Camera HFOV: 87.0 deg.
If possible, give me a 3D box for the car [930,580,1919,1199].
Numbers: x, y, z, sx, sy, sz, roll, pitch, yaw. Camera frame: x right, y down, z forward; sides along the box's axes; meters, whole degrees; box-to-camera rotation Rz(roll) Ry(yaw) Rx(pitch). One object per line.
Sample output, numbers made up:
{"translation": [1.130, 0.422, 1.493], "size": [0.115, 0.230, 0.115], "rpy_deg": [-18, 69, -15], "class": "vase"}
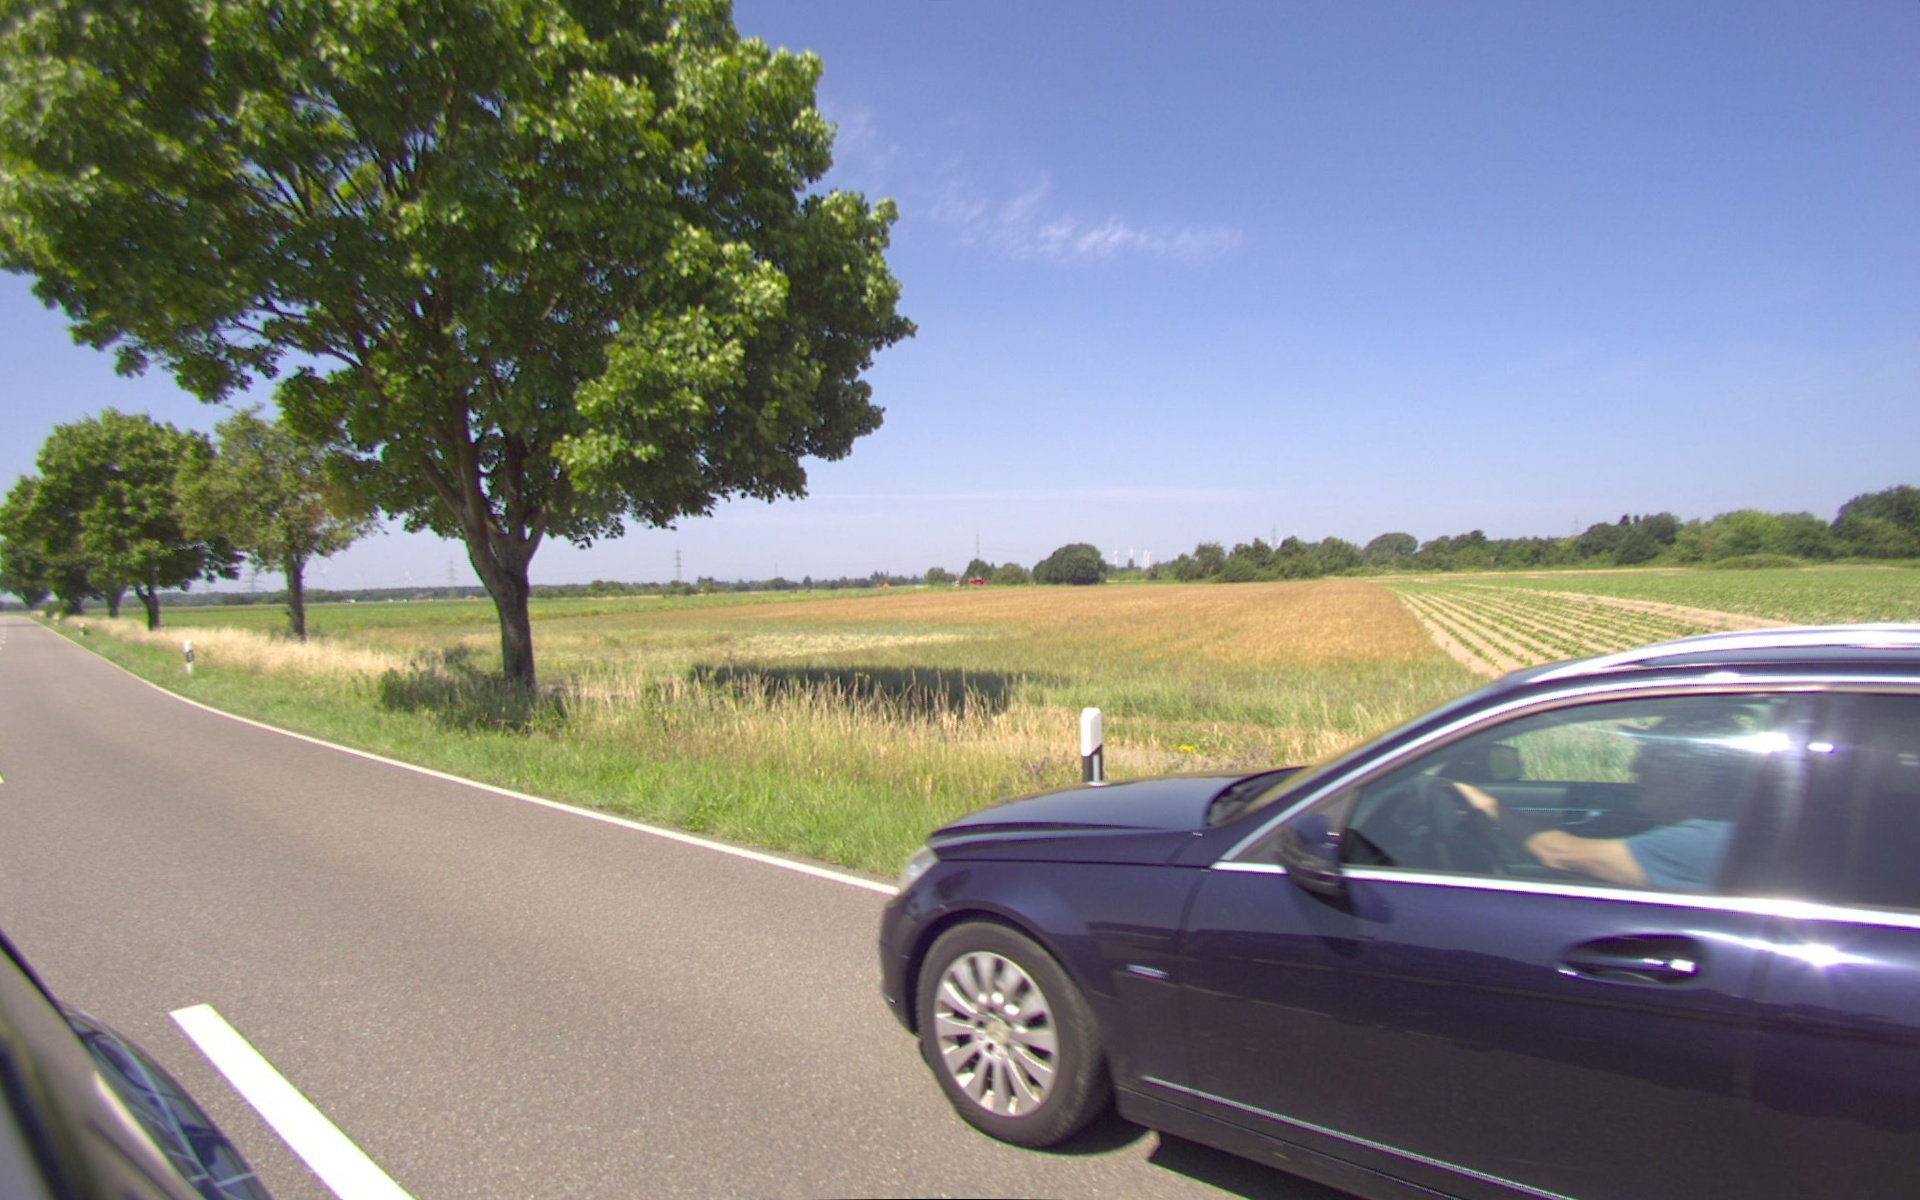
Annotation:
{"translation": [2.047, 0.707, 2.242], "size": [4.175, 1.440, 1.628], "rpy_deg": [-1, -2, 38], "class": "car"}
